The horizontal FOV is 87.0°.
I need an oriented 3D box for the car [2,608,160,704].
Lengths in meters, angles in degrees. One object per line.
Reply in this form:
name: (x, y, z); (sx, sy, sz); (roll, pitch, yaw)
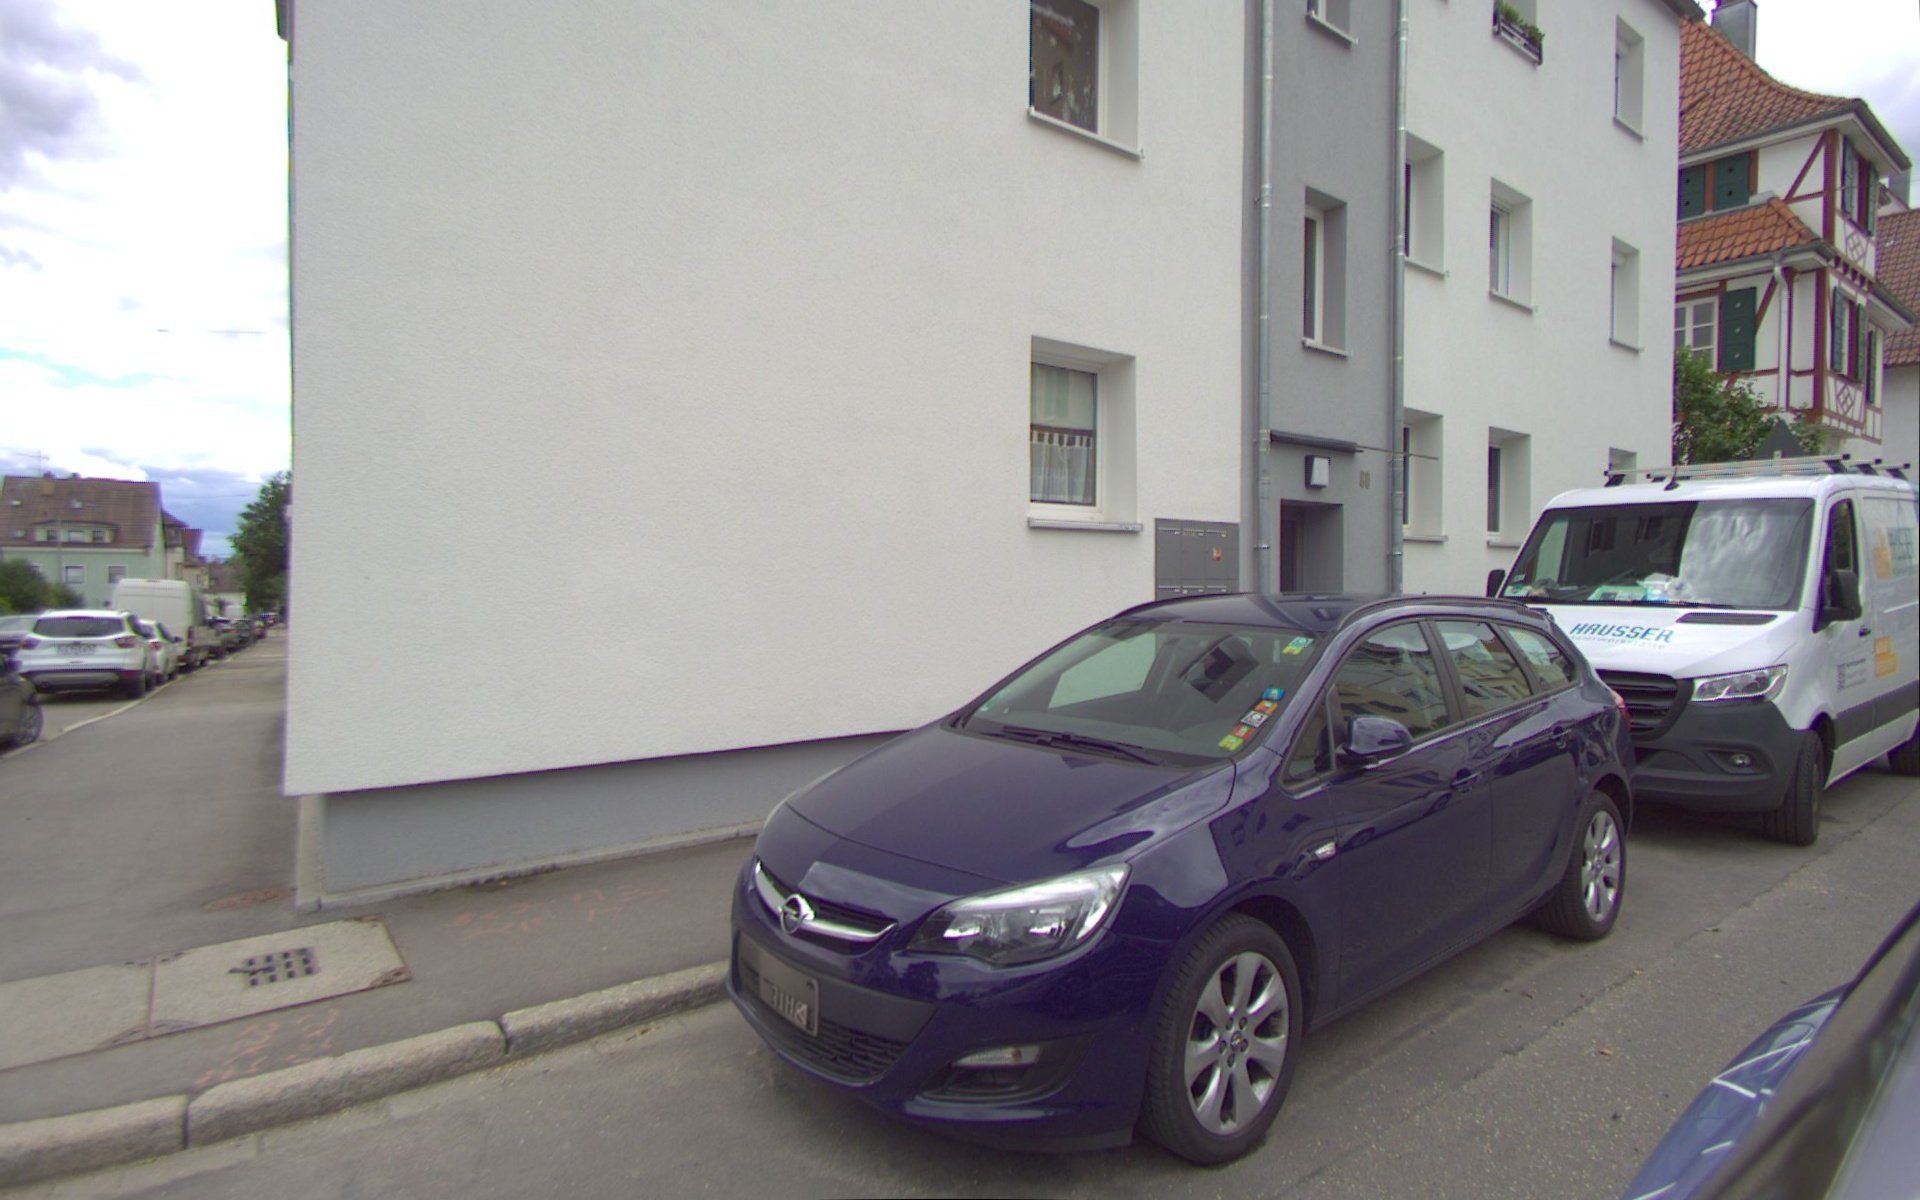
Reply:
car: (-16.909, 1.013, 19.662); (1.832, 1.627, 3.999); (-1, -1, -34)

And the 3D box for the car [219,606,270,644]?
car: (-31.919, 1.110, 45.230); (1.695, 1.607, 3.887); (-1, -1, -33)

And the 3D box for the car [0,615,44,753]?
car: (-10.735, 0.881, 10.096); (1.704, 1.440, 4.001); (0, -1, -33)

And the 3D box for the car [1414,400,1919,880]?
car: (5.706, 0.089, 7.534); (5.196, 2.452, 1.999); (-3, 3, -37)

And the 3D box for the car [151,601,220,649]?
car: (-28.046, 0.882, 36.754); (1.695, 1.607, 4.000); (-1, -1, -33)

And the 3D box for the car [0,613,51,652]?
car: (-40.853, 1.383, 43.909); (1.589, 1.580, 3.974); (-1, -1, -35)

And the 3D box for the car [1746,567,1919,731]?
car: (10.439, 0.404, 11.075); (4.303, 1.463, 1.830); (-3, 2, -37)

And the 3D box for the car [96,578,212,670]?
car: (-23.834, 0.672, 30.141); (2.074, 2.445, 5.895); (0, -1, -33)

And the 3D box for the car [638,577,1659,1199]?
car: (1.084, 0.662, 4.118); (4.210, 1.504, 1.822); (-1, 2, -39)

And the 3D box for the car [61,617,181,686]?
car: (-19.792, 1.146, 24.031); (1.704, 1.472, 4.001); (0, -1, -33)
